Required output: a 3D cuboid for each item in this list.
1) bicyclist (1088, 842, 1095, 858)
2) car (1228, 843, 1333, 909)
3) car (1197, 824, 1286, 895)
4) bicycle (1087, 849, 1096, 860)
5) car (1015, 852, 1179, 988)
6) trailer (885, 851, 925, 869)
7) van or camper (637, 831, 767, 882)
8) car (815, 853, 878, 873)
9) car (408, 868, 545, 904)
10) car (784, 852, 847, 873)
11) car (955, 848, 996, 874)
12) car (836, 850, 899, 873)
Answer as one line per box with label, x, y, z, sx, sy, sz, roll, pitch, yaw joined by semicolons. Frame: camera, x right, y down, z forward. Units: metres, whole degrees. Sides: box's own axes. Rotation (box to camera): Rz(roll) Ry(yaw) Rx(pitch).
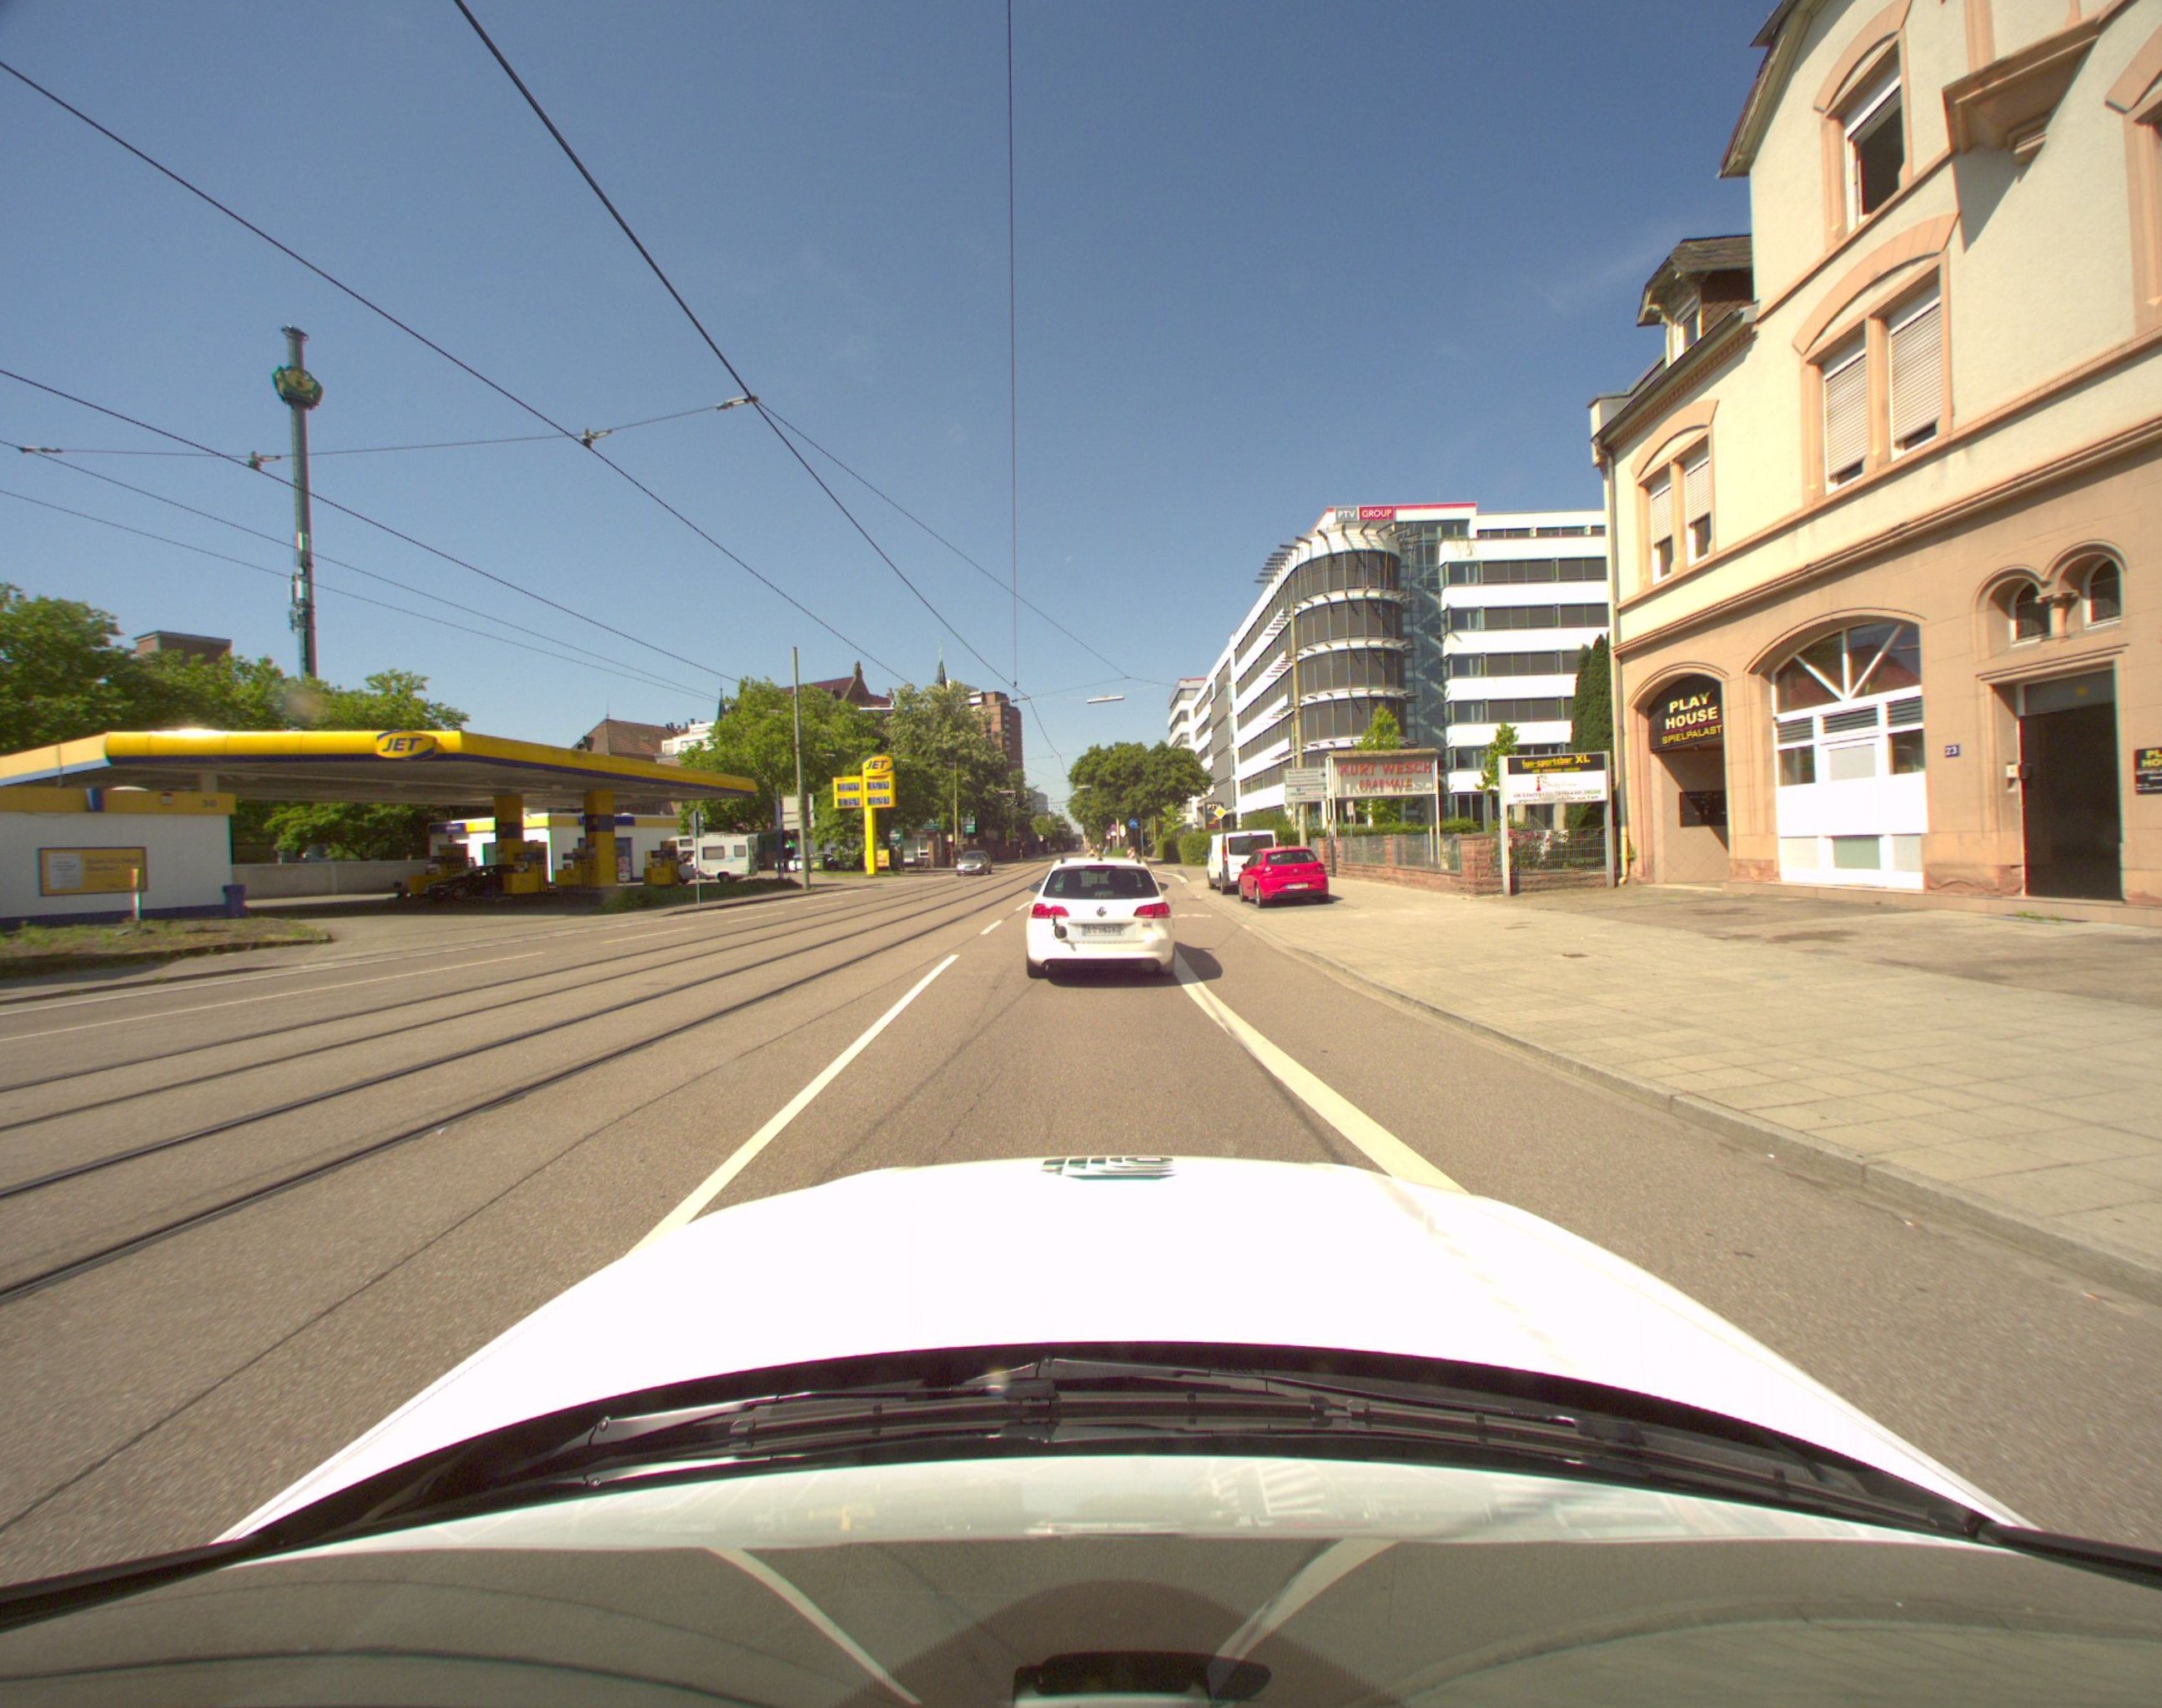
bicyclist;1.098;-0.415;84.400;0.783;1.629;0.738;0;-1;1
car;5.082;0.498;21.317;1.715;1.443;4.314;-4;0;1
car;5.281;0.149;27.483;1.969;2.054;5.193;-4;0;1
bicycle;1.068;0.054;84.176;0.808;1.078;2.013;-2;0;1
car;0.223;0.705;10.995;1.747;1.442;4.414;-1;0;1
trailer;-16.023;0.564;74.162;3.203;1.525;1.778;-2;0;2
van or camper;-23.065;0.178;49.851;6.689;2.967;2.608;1;0;-9
car;-19.387;0.723;67.454;1.925;1.467;4.606;-2;0;45
car;-25.689;1.300;34.793;1.681;1.303;4.416;0;1;25
car;-22.289;0.738;68.469;4.605;1.583;1.925;-2;0;-44
car;-6.951;0.472;53.880;1.737;1.571;3.898;-3;0;6
car;-17.279;0.603;66.056;1.925;1.625;4.606;-2;0;45
